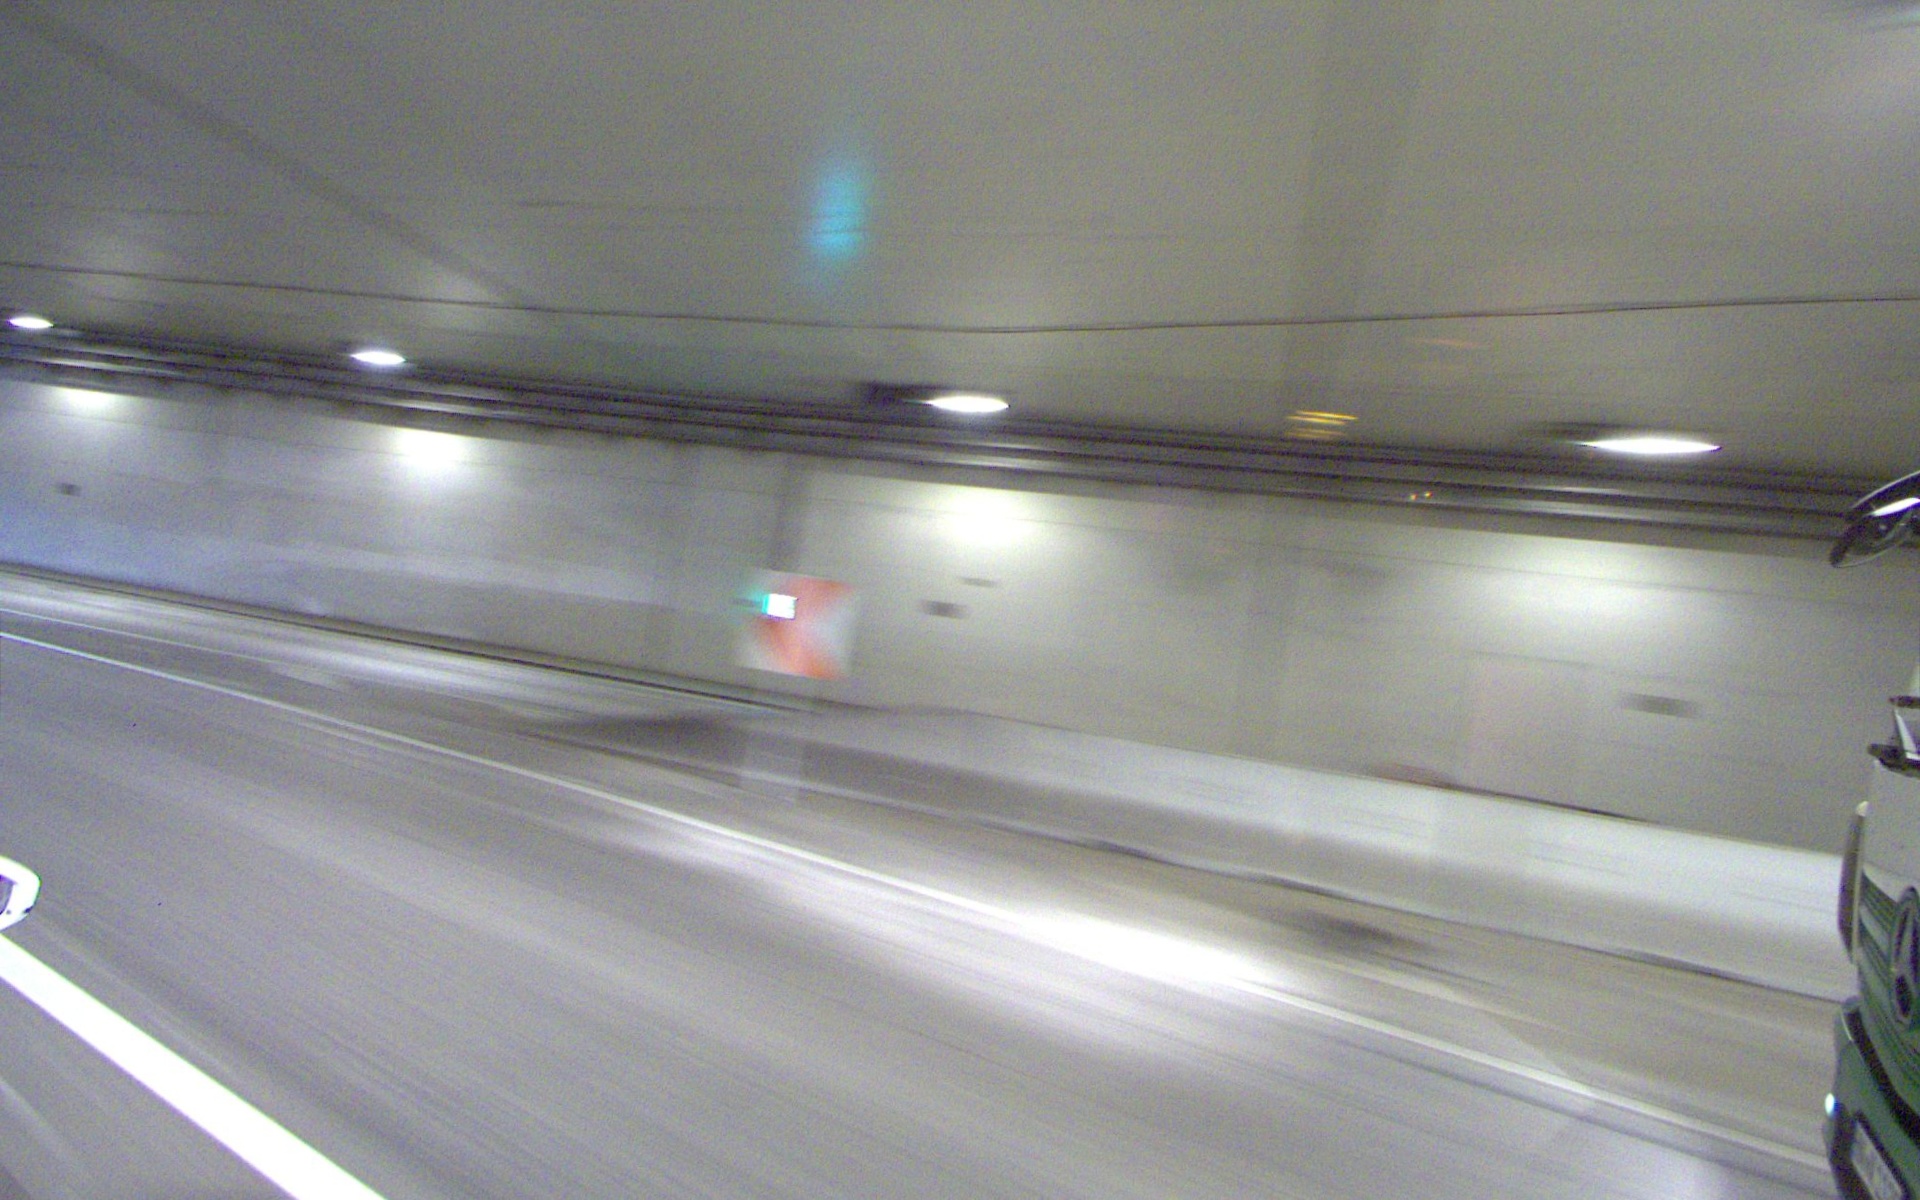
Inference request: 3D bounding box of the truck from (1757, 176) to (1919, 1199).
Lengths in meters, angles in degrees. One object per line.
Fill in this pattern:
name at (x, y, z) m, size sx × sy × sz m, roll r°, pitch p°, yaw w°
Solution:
truck at (5.185, 0.583, 0.351) m, size 7.127 × 3.219 × 2.557 m, roll 8°, pitch 0°, yaw 34°
